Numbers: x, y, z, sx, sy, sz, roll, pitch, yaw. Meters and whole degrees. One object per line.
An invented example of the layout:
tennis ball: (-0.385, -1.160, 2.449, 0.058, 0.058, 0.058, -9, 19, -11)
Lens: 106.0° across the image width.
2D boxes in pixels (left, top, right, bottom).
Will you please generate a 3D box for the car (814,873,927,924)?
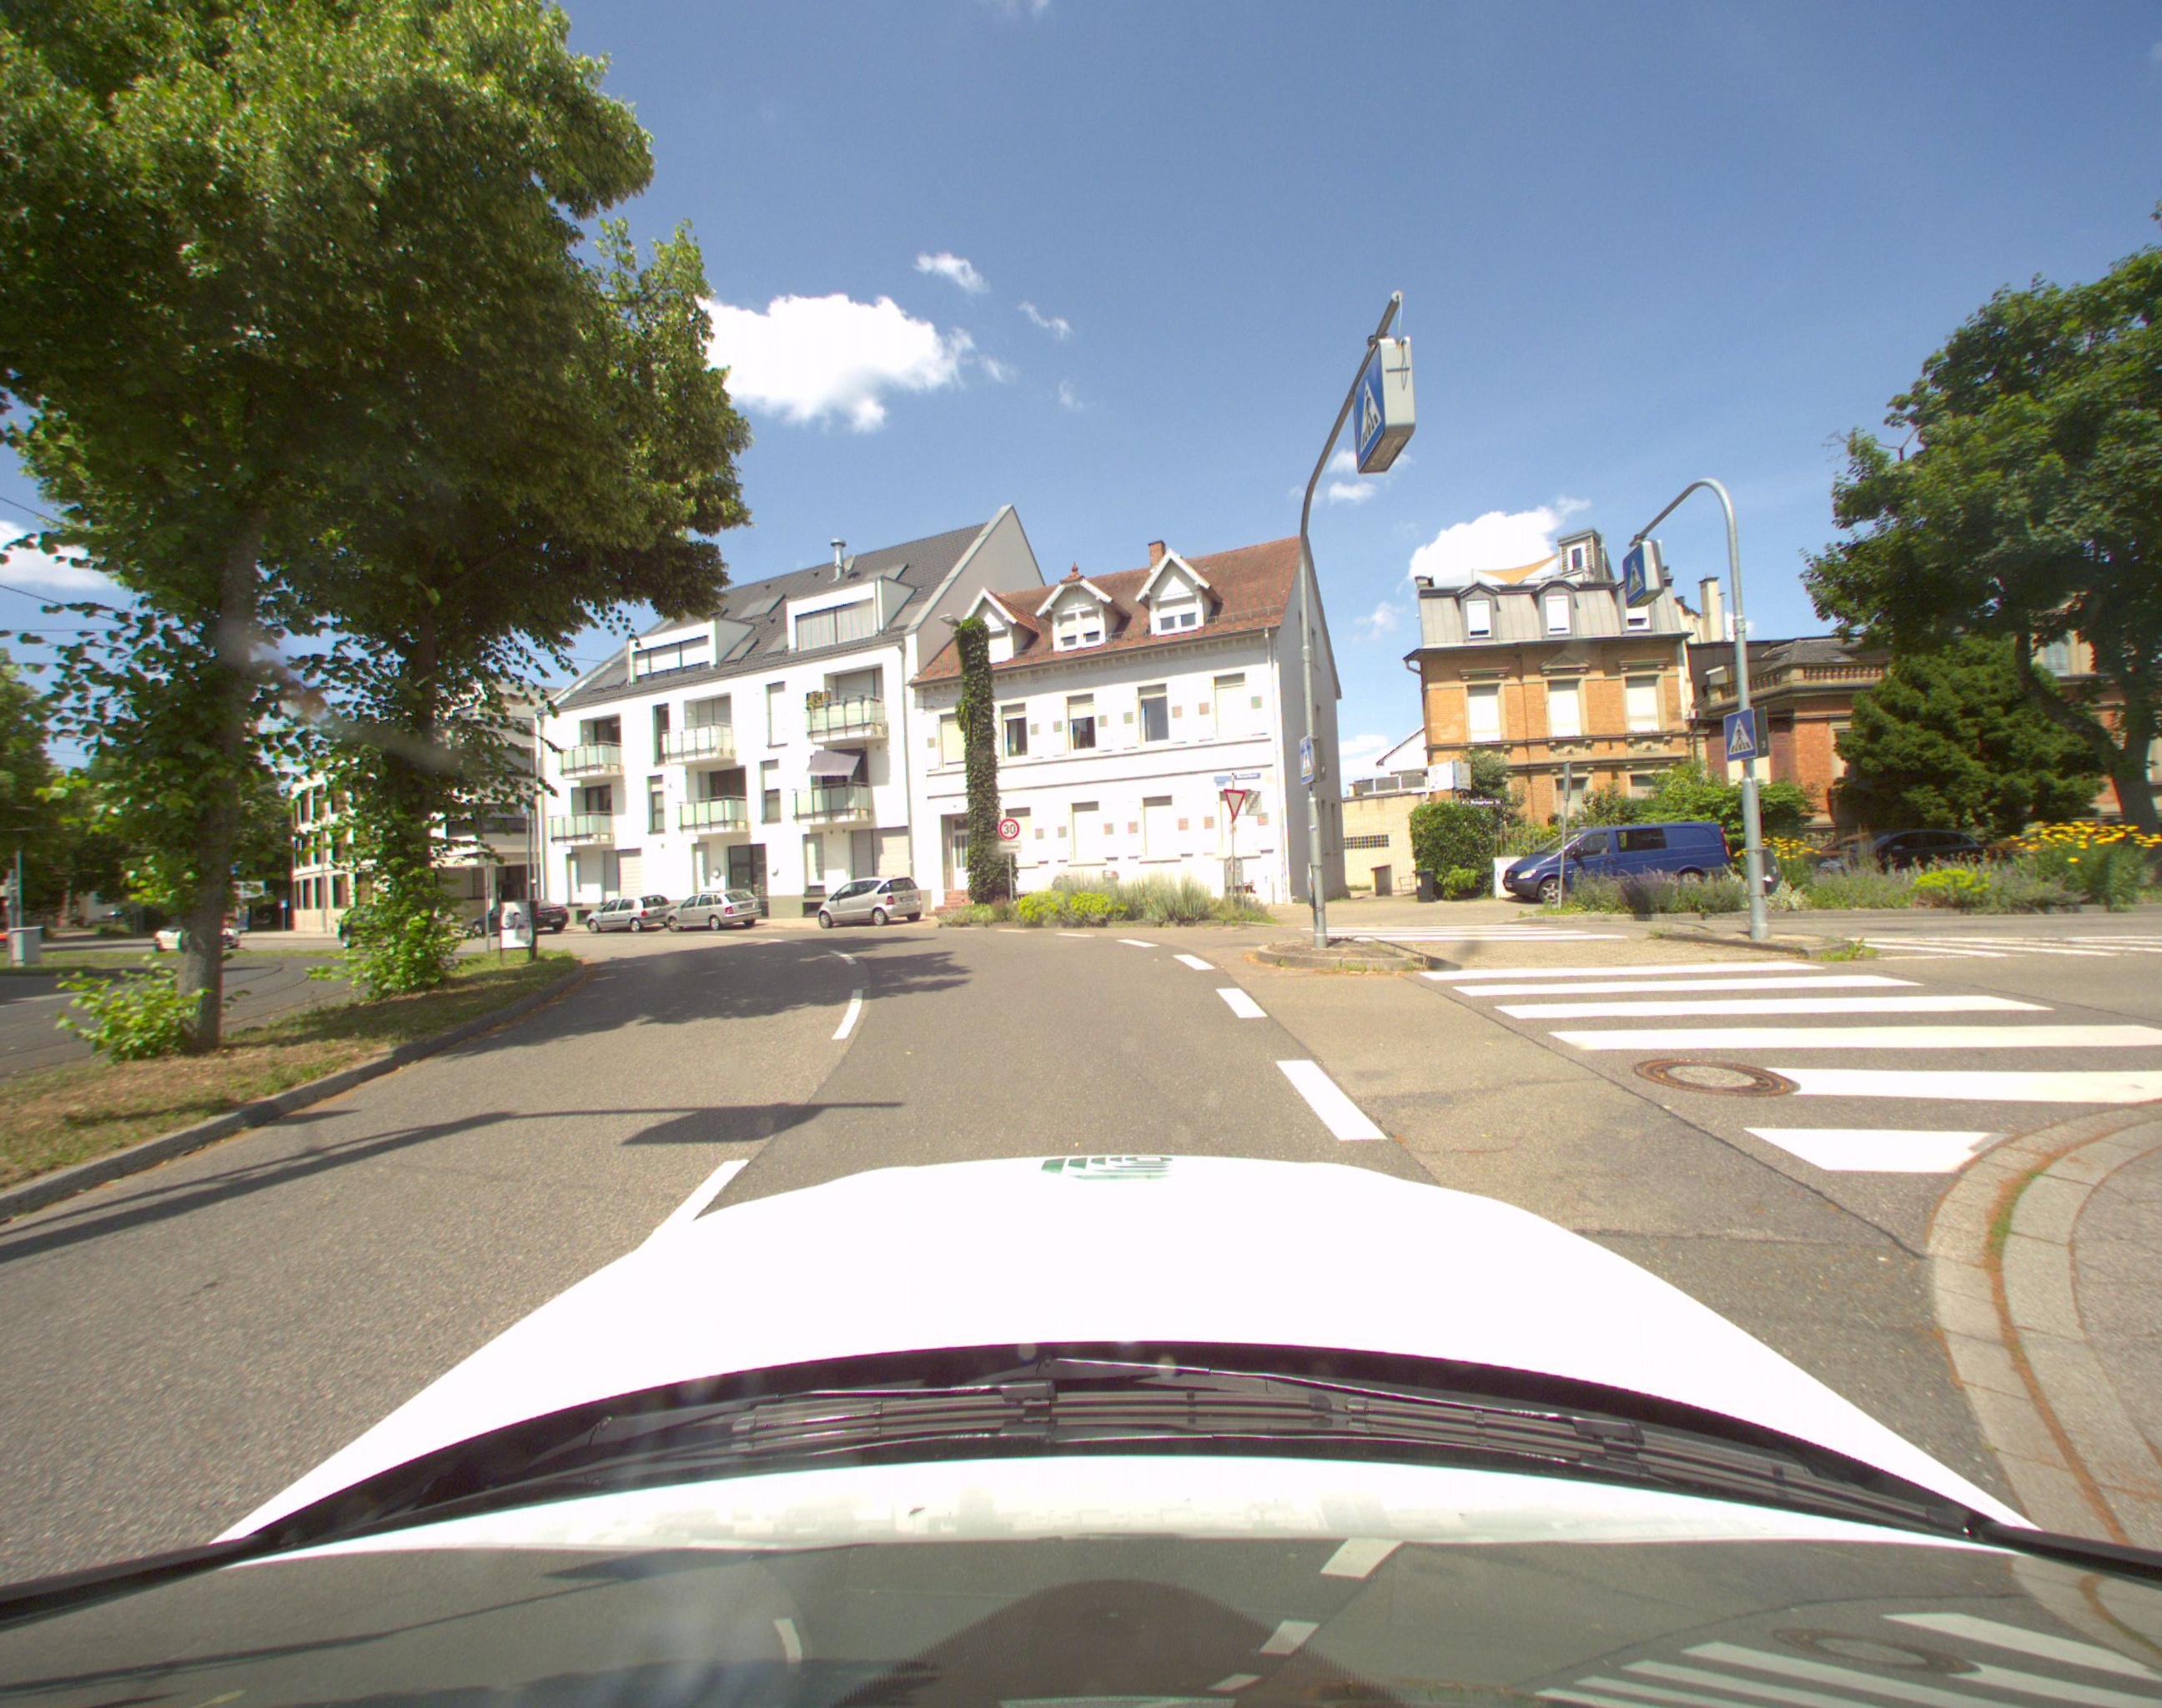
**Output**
car: (-7.025, 1.491, 27.064, 3.571, 1.587, 1.594, -3, -3, 32)

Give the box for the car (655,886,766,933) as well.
car: (-13.867, 2.065, 30.443, 3.859, 1.465, 1.672, -2, 3, 29)

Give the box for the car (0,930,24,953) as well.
car: (-75.707, 6.052, 55.567, 4.086, 1.527, 1.632, 1, -3, -39)

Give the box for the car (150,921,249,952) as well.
car: (-39.913, 3.713, 36.886, 3.951, 1.244, 1.796, -2, -3, 23)

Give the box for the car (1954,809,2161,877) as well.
car: (25.592, -0.246, 20.896, 4.213, 1.591, 1.861, -1, -3, 2)

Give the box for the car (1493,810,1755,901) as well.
car: (13.818, 0.045, 21.084, 5.193, 1.947, 2.089, -3, 0, 10)

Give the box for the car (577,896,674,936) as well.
car: (-18.110, 2.481, 32.380, 3.461, 1.357, 1.431, -3, 3, 23)

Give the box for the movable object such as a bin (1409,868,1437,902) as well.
movable object such as a bin: (9.525, 0.860, 22.710, 0.420, 0.916, 0.555, 0, -3, -23)

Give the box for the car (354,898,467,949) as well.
car: (-23.505, 2.451, 28.510, 4.338, 1.552, 1.907, -5, -2, 35)

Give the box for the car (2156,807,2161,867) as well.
car: (30.707, -0.533, 20.662, 4.213, 1.591, 1.861, -1, -3, 2)
